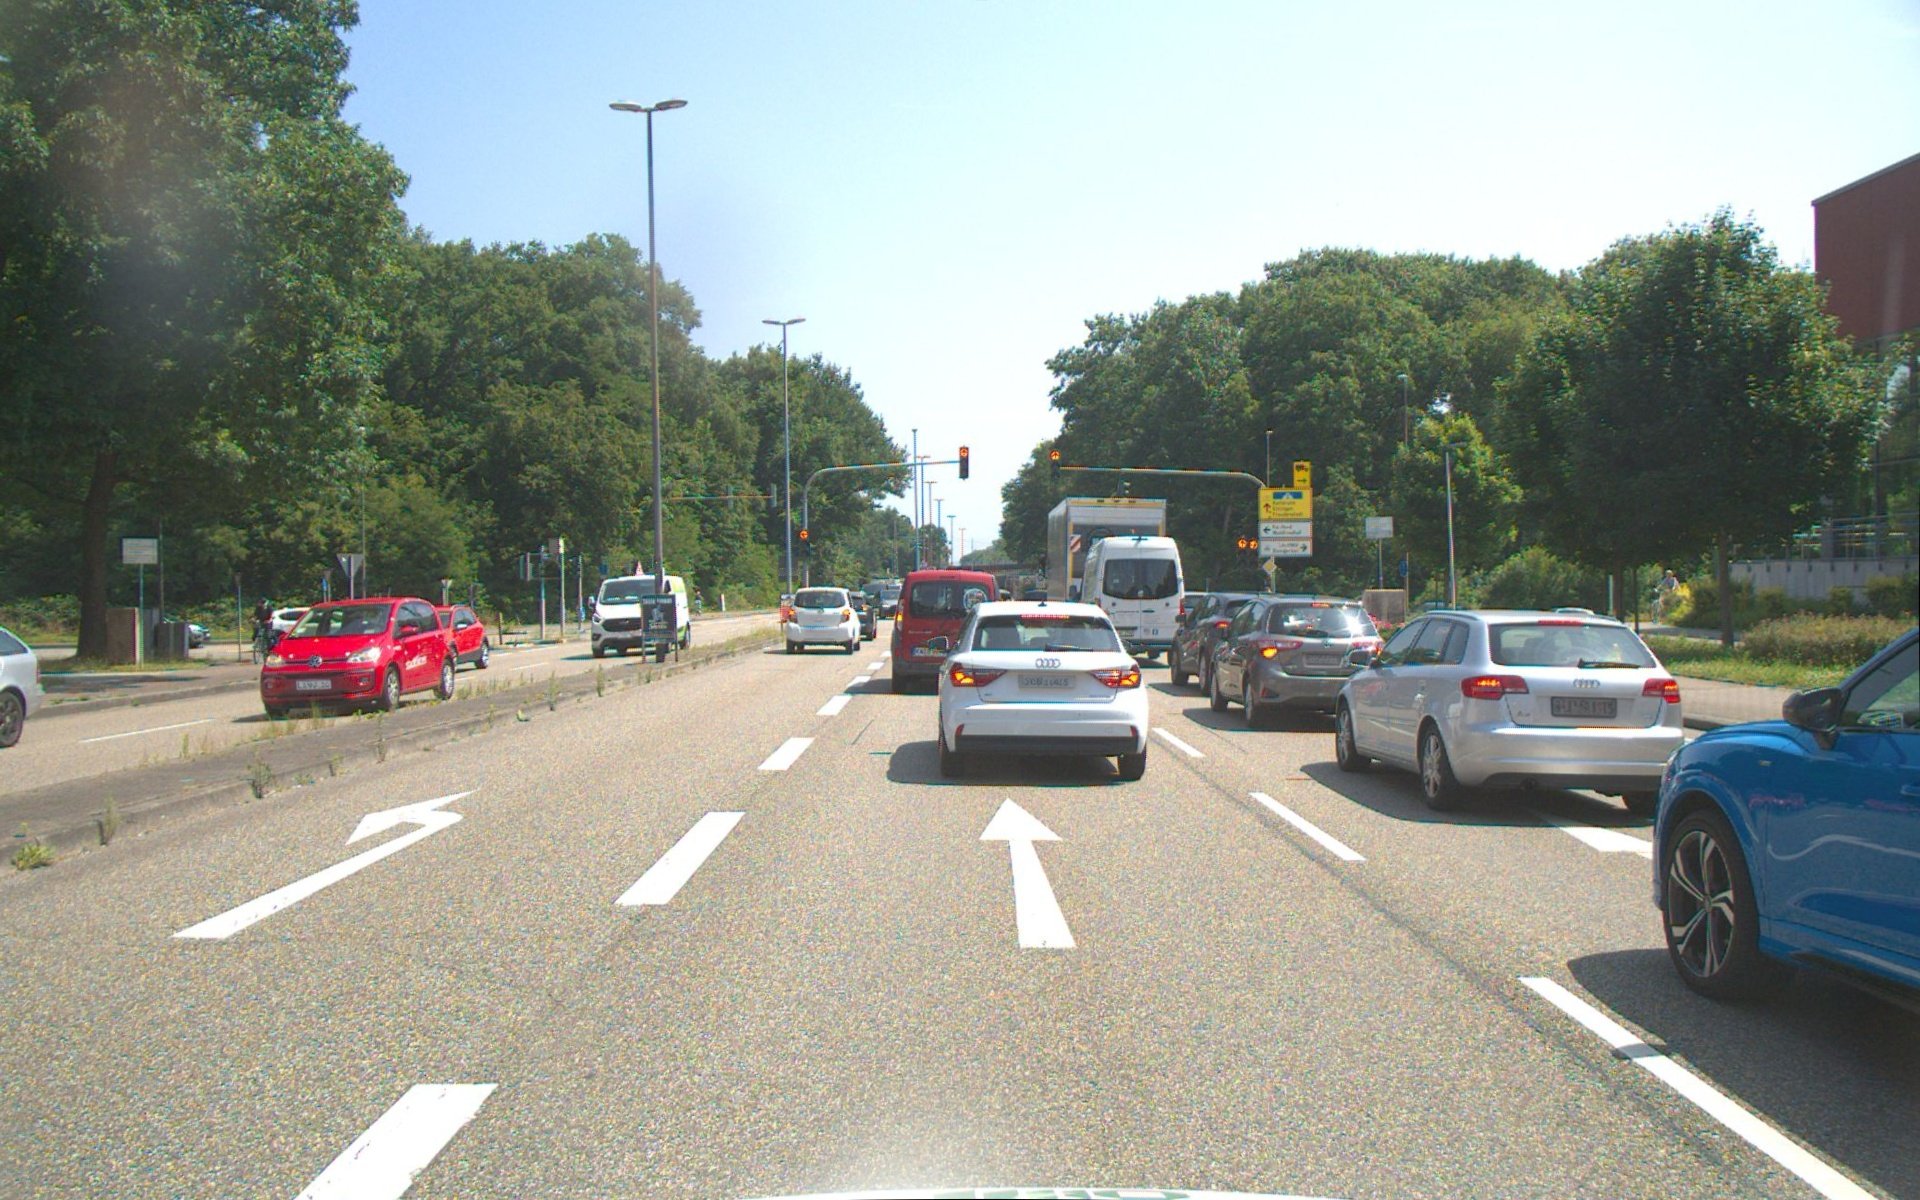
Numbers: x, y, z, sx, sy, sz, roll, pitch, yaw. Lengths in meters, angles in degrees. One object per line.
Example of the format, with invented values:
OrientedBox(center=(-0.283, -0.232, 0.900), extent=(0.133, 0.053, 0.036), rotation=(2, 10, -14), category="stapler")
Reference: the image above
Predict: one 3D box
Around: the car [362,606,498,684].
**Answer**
OrientedBox(center=(-11.630, 0.953, 36.544), extent=(1.671, 1.478, 3.891), rotation=(-3, 0, 0), category="car")

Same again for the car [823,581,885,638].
OrientedBox(center=(-3.195, 0.256, 50.634), extent=(1.738, 1.670, 4.036), rotation=(0, 0, -1), category="car")

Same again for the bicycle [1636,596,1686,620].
OrientedBox(center=(23.517, 0.269, 55.467), extent=(1.803, 0.779, 0.594), rotation=(-1, 0, -32), category="bicycle")

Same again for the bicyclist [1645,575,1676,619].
OrientedBox(center=(23.501, -0.091, 55.487), extent=(0.817, 1.464, 0.593), rotation=(-1, 0, -29), category="bicyclist")

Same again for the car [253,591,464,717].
OrientedBox(center=(-8.020, 0.661, 22.370), extent=(1.548, 1.466, 3.608), rotation=(-3, 0, -2), category="car")

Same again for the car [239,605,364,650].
OrientedBox(center=(-26.230, 1.090, 65.998), extent=(4.288, 1.711, 1.807), rotation=(1, 0, -8), category="car")

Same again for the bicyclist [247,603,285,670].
OrientedBox(center=(-19.137, 1.002, 45.600), extent=(0.636, 1.801, 0.928), rotation=(-1, 0, 0), category="bicyclist")

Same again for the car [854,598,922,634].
OrientedBox(center=(-3.671, 0.801, 83.458), extent=(1.852, 1.719, 3.962), rotation=(-1, 0, -29), category="car")

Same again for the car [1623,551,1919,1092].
OrientedBox(center=(3.779, 0.663, 4.940), extent=(1.800, 1.623, 4.399), rotation=(0, 0, -1), category="car")

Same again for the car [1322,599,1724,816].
OrientedBox(center=(4.193, 0.715, 13.038), extent=(1.677, 1.386, 4.090), rotation=(1, 0, -1), category="car")

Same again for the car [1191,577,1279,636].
OrientedBox(center=(7.637, 0.155, 46.273), extent=(1.677, 1.573, 4.090), rotation=(0, 0, -1), category="car")

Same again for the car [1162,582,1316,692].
OrientedBox(center=(4.368, 0.541, 26.453), extent=(1.677, 1.621, 4.090), rotation=(0, 0, -1), category="car")

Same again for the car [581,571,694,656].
OrientedBox(center=(-8.293, 0.312, 42.963), extent=(1.953, 1.979, 4.907), rotation=(-3, 0, -1), category="car")

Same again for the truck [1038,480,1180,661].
OrientedBox(center=(4.024, -0.778, 47.413), extent=(3.025, 4.511, 11.580), rotation=(1, 0, 0), category="truck")

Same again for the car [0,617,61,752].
OrientedBox(center=(-11.177, 0.984, 16.756), extent=(1.742, 1.428, 4.359), rotation=(-4, 0, -1), category="car")

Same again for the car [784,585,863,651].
OrientedBox(center=(-3.268, 0.403, 40.125), extent=(1.677, 1.519, 4.090), rotation=(0, 0, -1), category="car")

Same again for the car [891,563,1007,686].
OrientedBox(center=(-0.207, 0.344, 25.961), extent=(1.677, 1.779, 4.090), rotation=(0, 0, -1), category="car")

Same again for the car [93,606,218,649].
OrientedBox(center=(-33.507, 1.153, 68.976), extent=(4.292, 1.711, 1.805), rotation=(1, -1, -11), category="car")

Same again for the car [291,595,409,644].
OrientedBox(center=(-25.921, 0.812, 70.425), extent=(4.290, 1.710, 1.807), rotation=(-4, 0, -8), category="car")

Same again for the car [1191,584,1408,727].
OrientedBox(center=(4.047, 0.600, 20.369), extent=(1.677, 1.504, 4.090), rotation=(3, 0, -1), category="car")

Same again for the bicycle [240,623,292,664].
OrientedBox(center=(-19.131, 1.188, 45.634), extent=(0.641, 1.069, 1.884), rotation=(-1, 0, 0), category="bicycle")

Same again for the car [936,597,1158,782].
OrientedBox(center=(0.644, 0.687, 14.835), extent=(1.677, 1.410, 4.090), rotation=(0, 0, -1), category="car")

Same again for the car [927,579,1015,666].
OrientedBox(center=(0.172, 0.423, 33.662), extent=(1.677, 1.660, 4.090), rotation=(0, 0, -1), category="car")

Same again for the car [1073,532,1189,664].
OrientedBox(center=(3.656, -0.062, 36.222), extent=(1.989, 2.690, 4.844), rotation=(0, 0, -1), category="car")

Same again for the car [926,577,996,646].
OrientedBox(center=(-0.017, 0.263, 42.110), extent=(1.677, 1.660, 4.090), rotation=(0, 0, -1), category="car")
